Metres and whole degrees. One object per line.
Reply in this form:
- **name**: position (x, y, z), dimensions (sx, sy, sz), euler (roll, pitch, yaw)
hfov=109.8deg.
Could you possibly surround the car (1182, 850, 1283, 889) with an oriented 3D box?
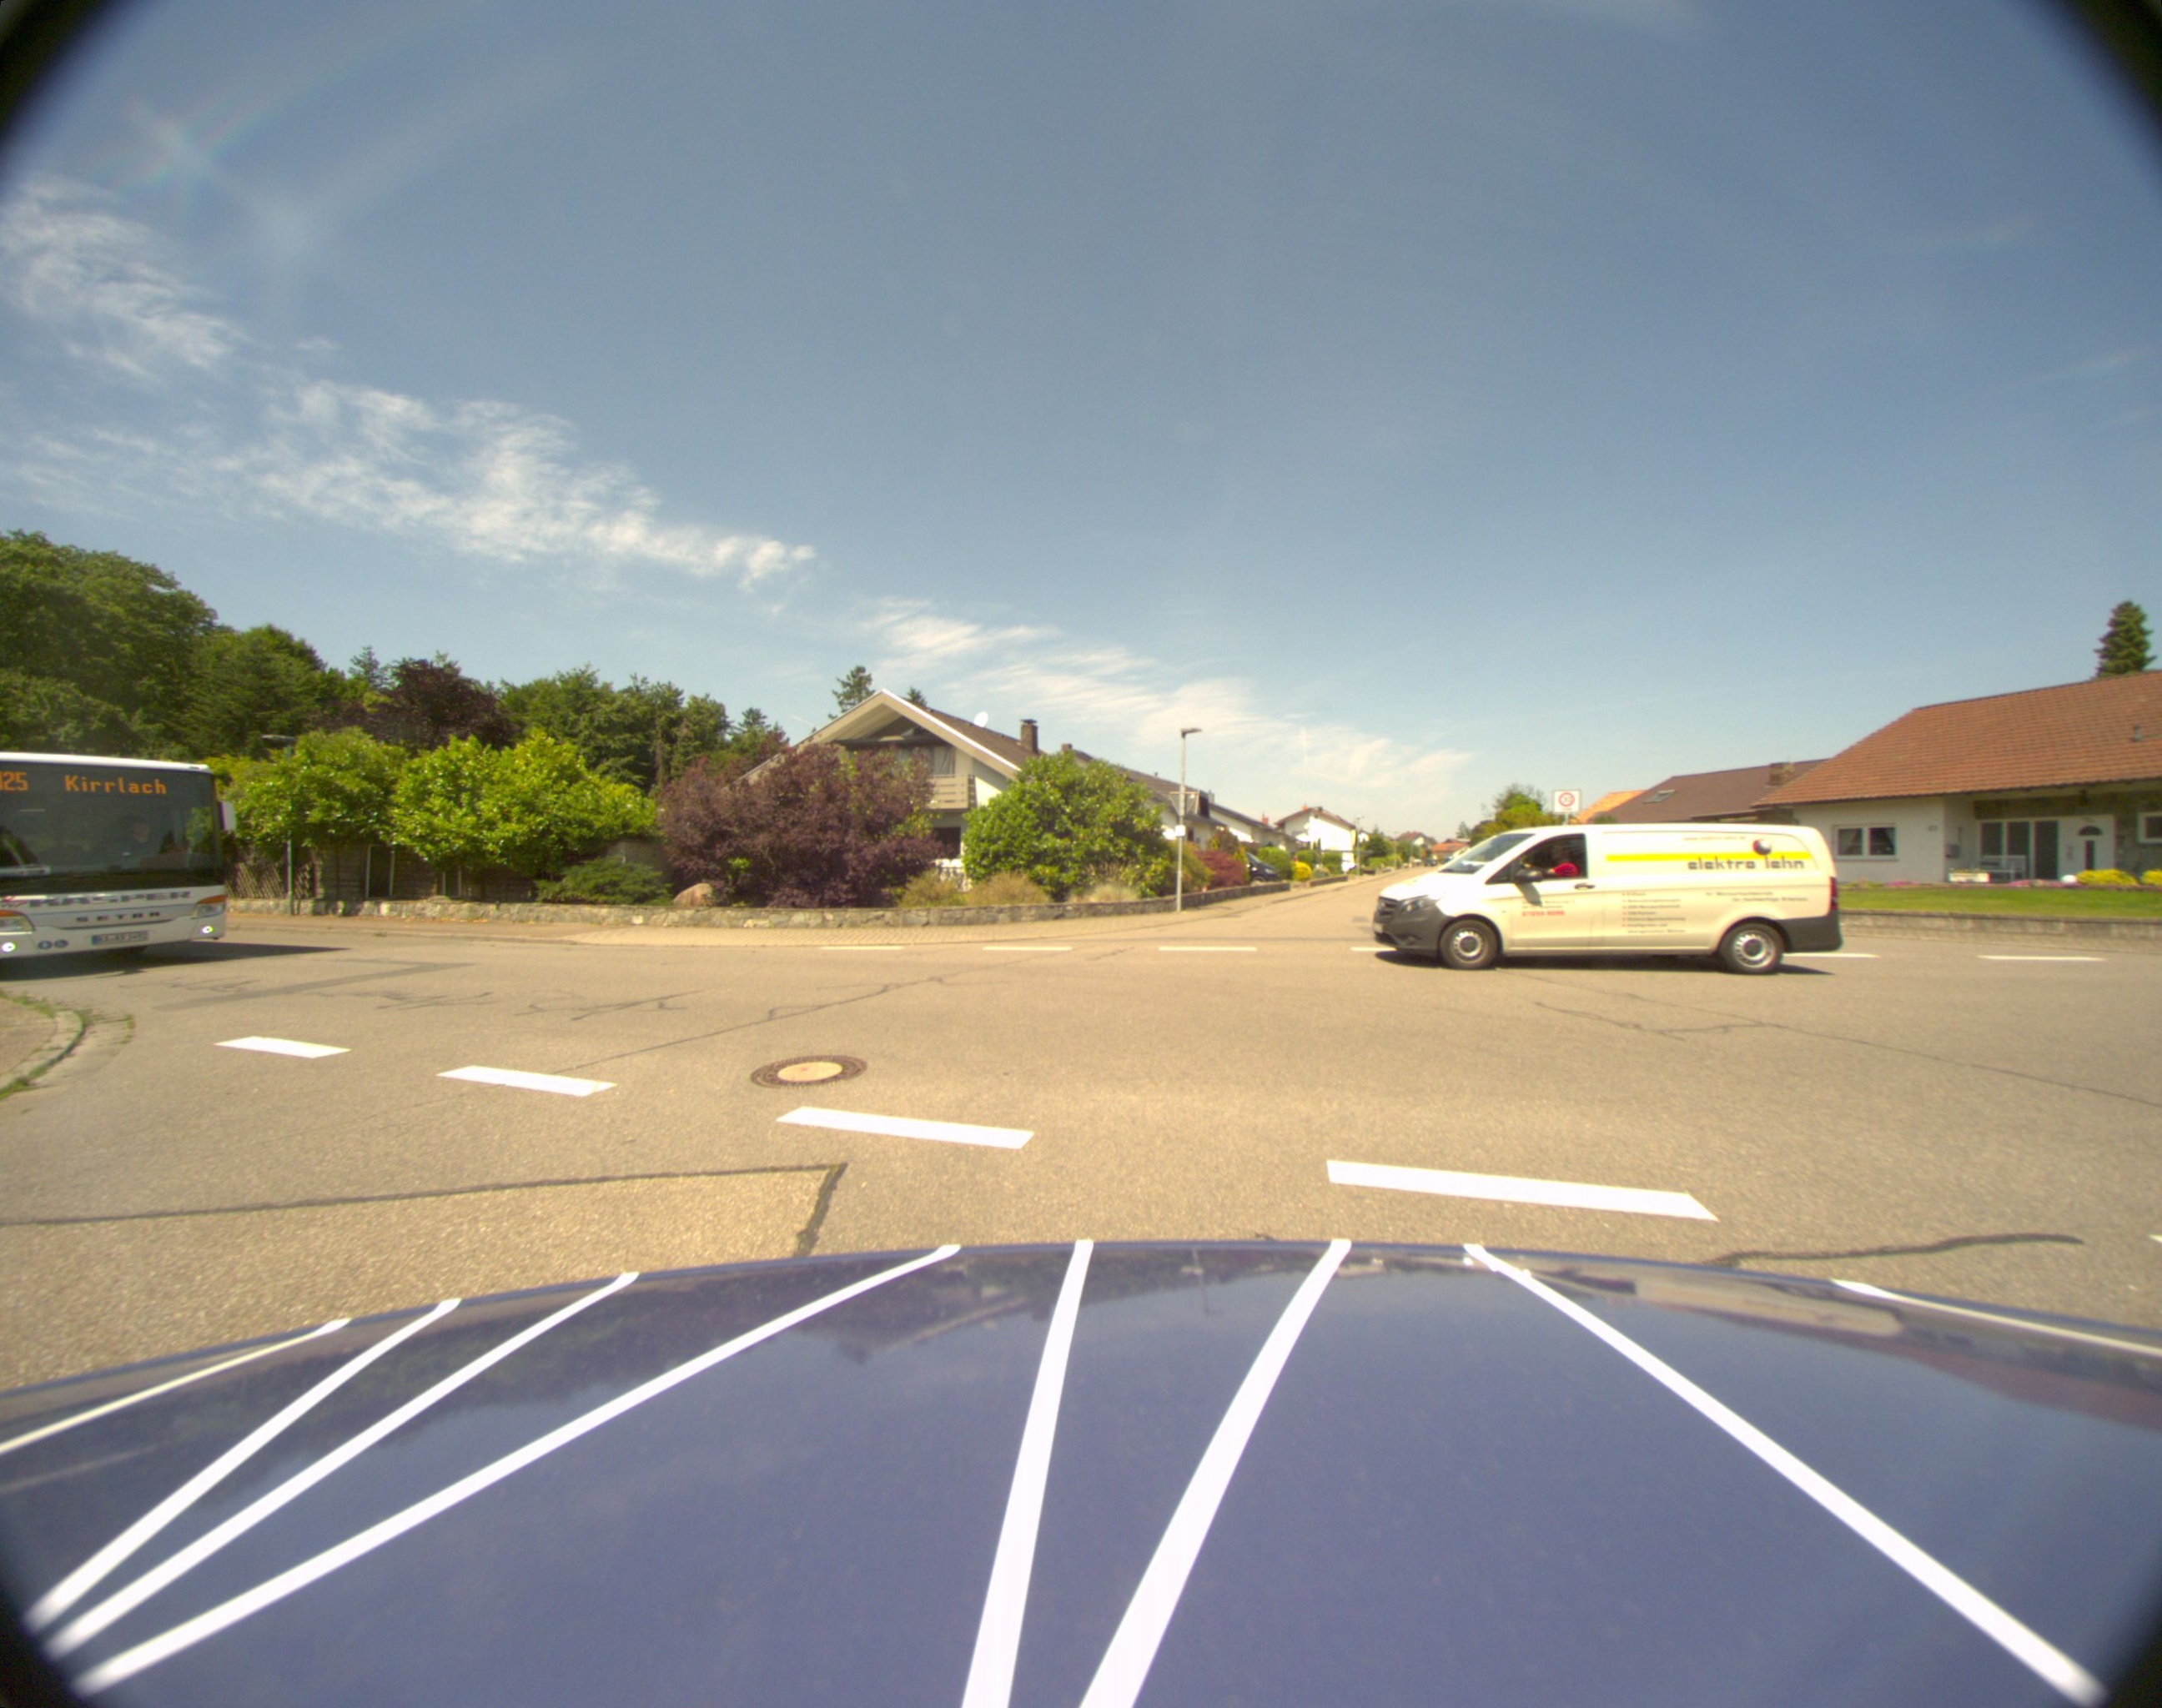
- **car**: position (7.890, 0.779, 39.495), dimensions (4.955, 1.904, 1.931), euler (0, 0, 19)

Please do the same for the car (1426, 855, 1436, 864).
- **car**: position (77.290, 1.262, 167.949), dimensions (1.872, 1.914, 4.006), euler (0, 0, 22)

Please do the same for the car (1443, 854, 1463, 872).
- **car**: position (40.074, 0.955, 81.827), dimensions (1.823, 1.871, 4.007), euler (0, 0, 27)

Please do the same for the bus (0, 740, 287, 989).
- **bus**: position (-19.672, 0.171, 12.866), dimensions (12.685, 3.225, 3.196), euler (0, 0, 17)

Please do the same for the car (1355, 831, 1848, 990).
- **car**: position (6.513, 0.671, 10.126), dimensions (5.061, 1.845, 2.021), euler (0, 0, 7)
